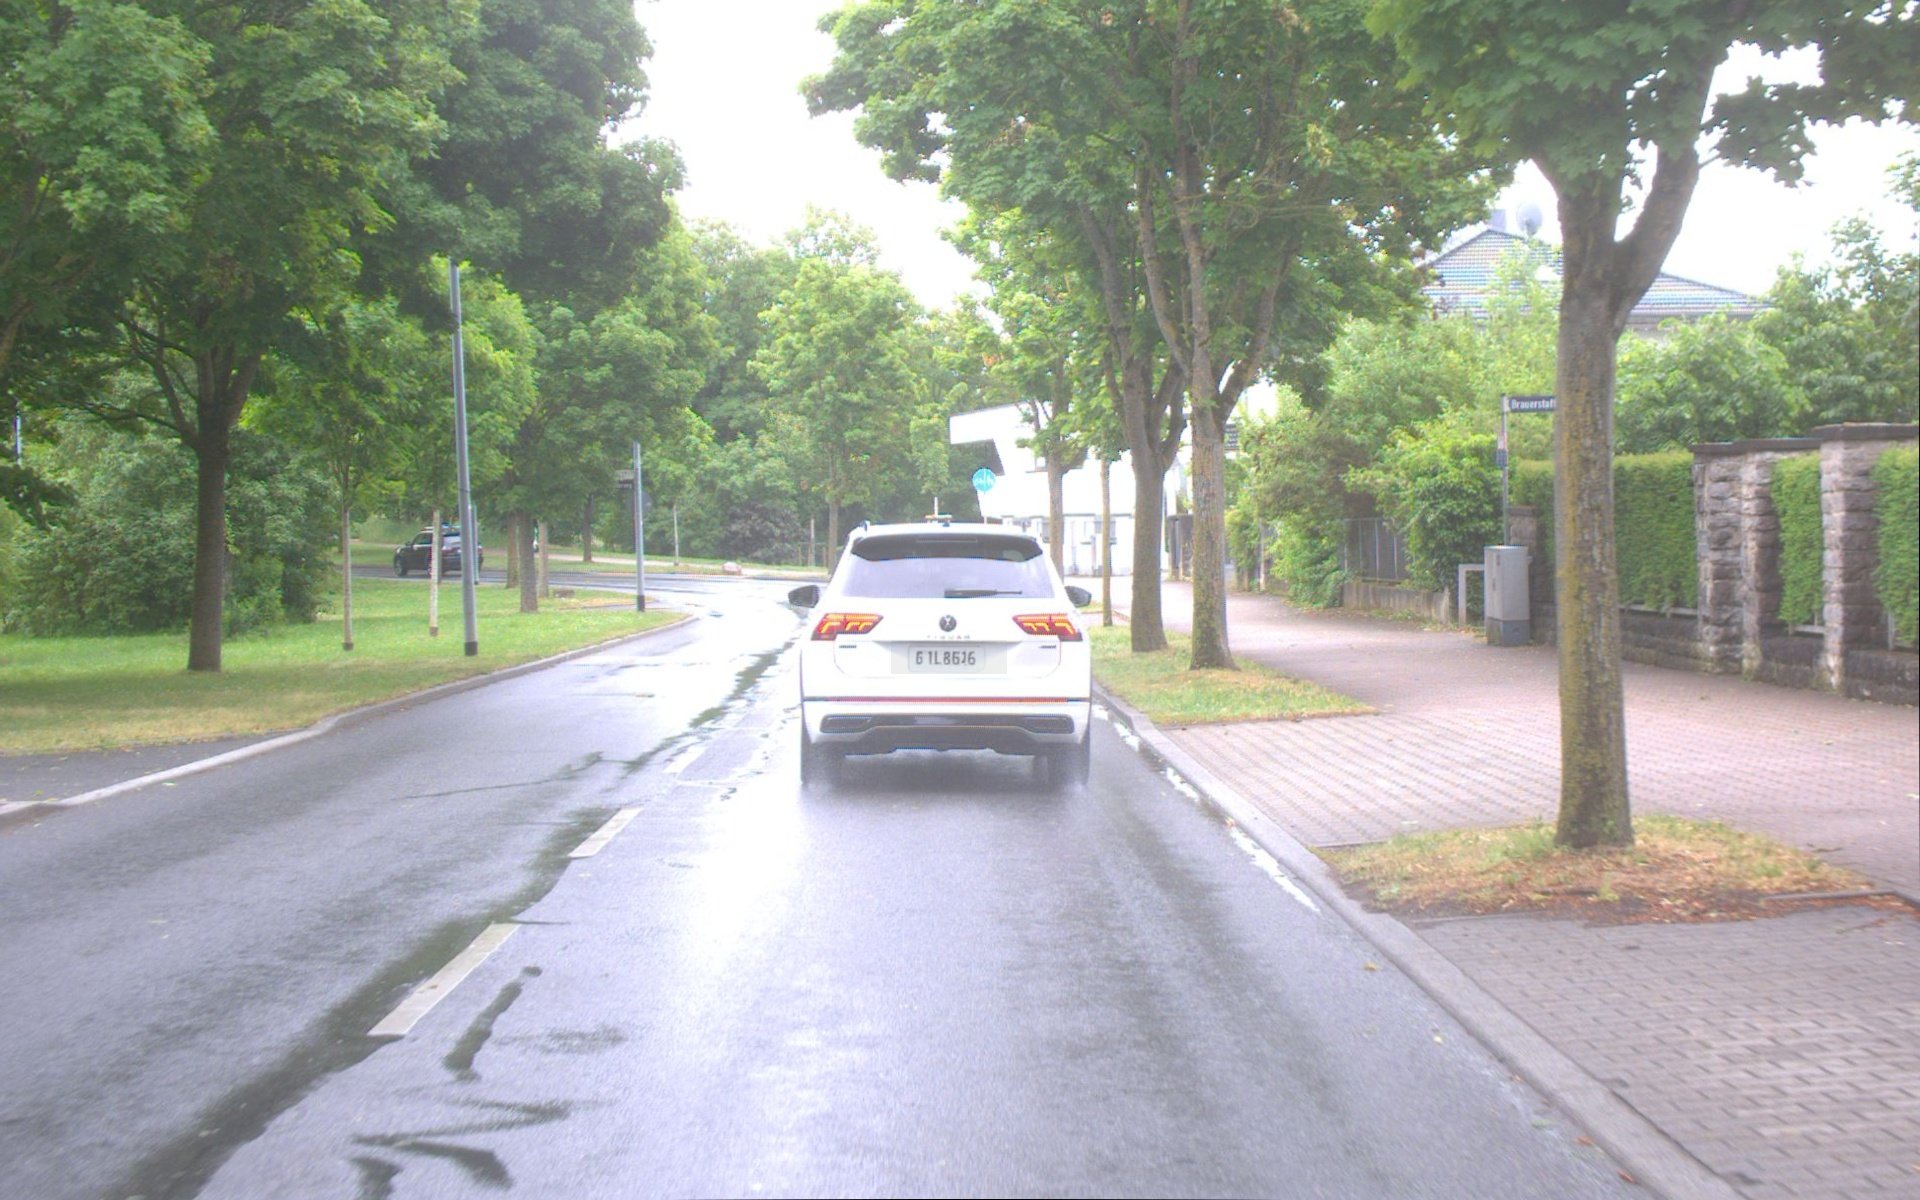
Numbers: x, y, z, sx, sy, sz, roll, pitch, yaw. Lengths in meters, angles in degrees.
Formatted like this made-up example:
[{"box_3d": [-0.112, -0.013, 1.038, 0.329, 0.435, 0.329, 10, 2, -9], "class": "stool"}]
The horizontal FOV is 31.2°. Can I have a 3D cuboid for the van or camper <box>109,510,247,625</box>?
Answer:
[{"box_3d": [-17.325, -0.749, 76.503, 2.384, 2.352, 6.813, -2, 1, -8], "class": "van or camper"}]

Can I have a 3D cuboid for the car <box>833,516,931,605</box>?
[{"box_3d": [-1.851, -0.930, 80.828, 1.900, 2.007, 3.945, 1, 1, -7], "class": "car"}]

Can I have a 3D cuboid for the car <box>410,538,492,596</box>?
[{"box_3d": [-18.077, -1.190, 121.949, 1.900, 2.007, 3.945, 1, 1, -24], "class": "car"}]

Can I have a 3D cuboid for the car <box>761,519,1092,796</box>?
[{"box_3d": [-0.199, 0.301, 22.595, 1.974, 1.647, 4.177, 0, 1, 0], "class": "car"}]
